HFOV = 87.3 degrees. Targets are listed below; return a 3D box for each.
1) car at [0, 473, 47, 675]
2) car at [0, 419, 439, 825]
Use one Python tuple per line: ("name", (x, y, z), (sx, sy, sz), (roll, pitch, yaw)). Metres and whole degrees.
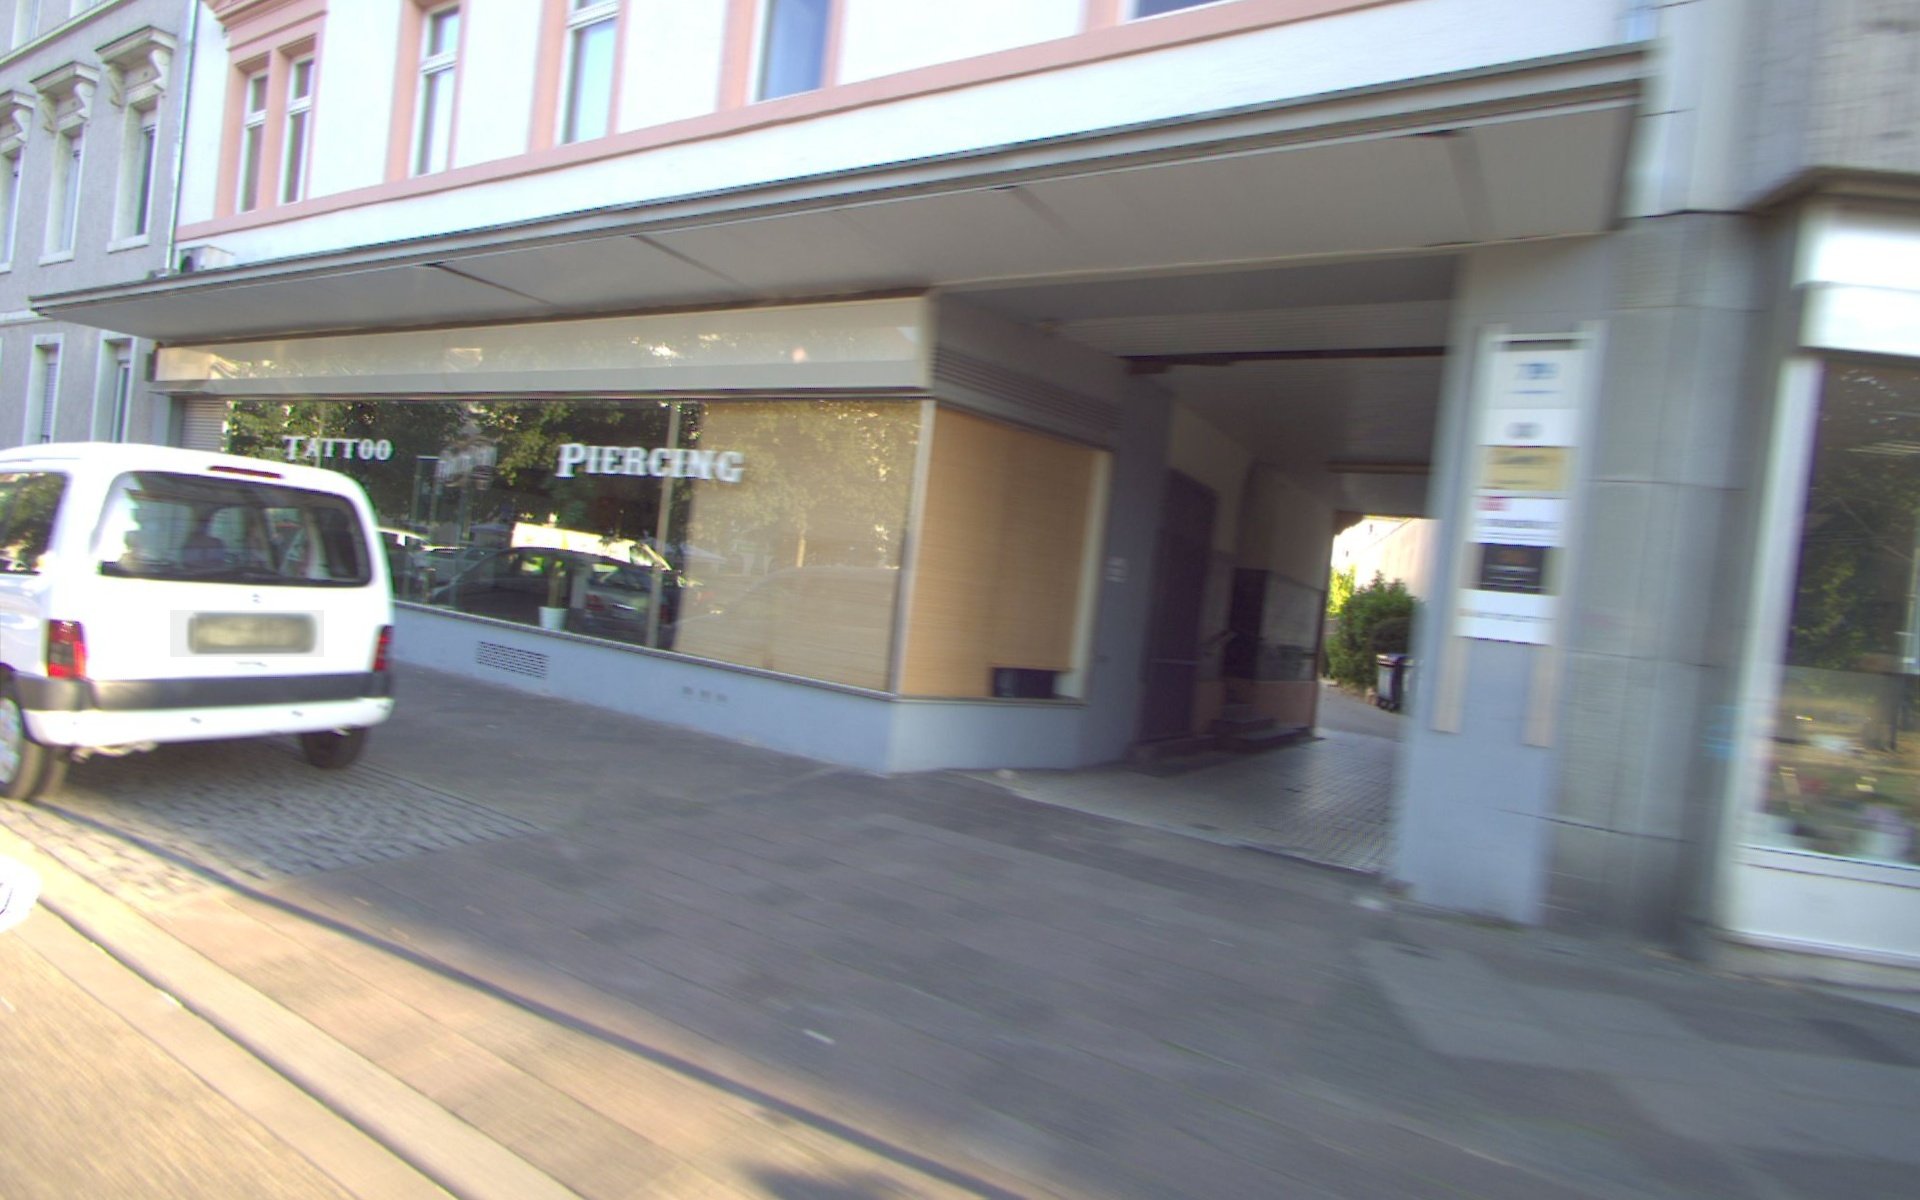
("car", (-10.036, -0.477, 8.909), (4.039, 1.685, 1.659), (7, -1, 31))
("car", (-5.361, -0.031, 6.293), (4.024, 1.814, 1.795), (7, 0, 32))
